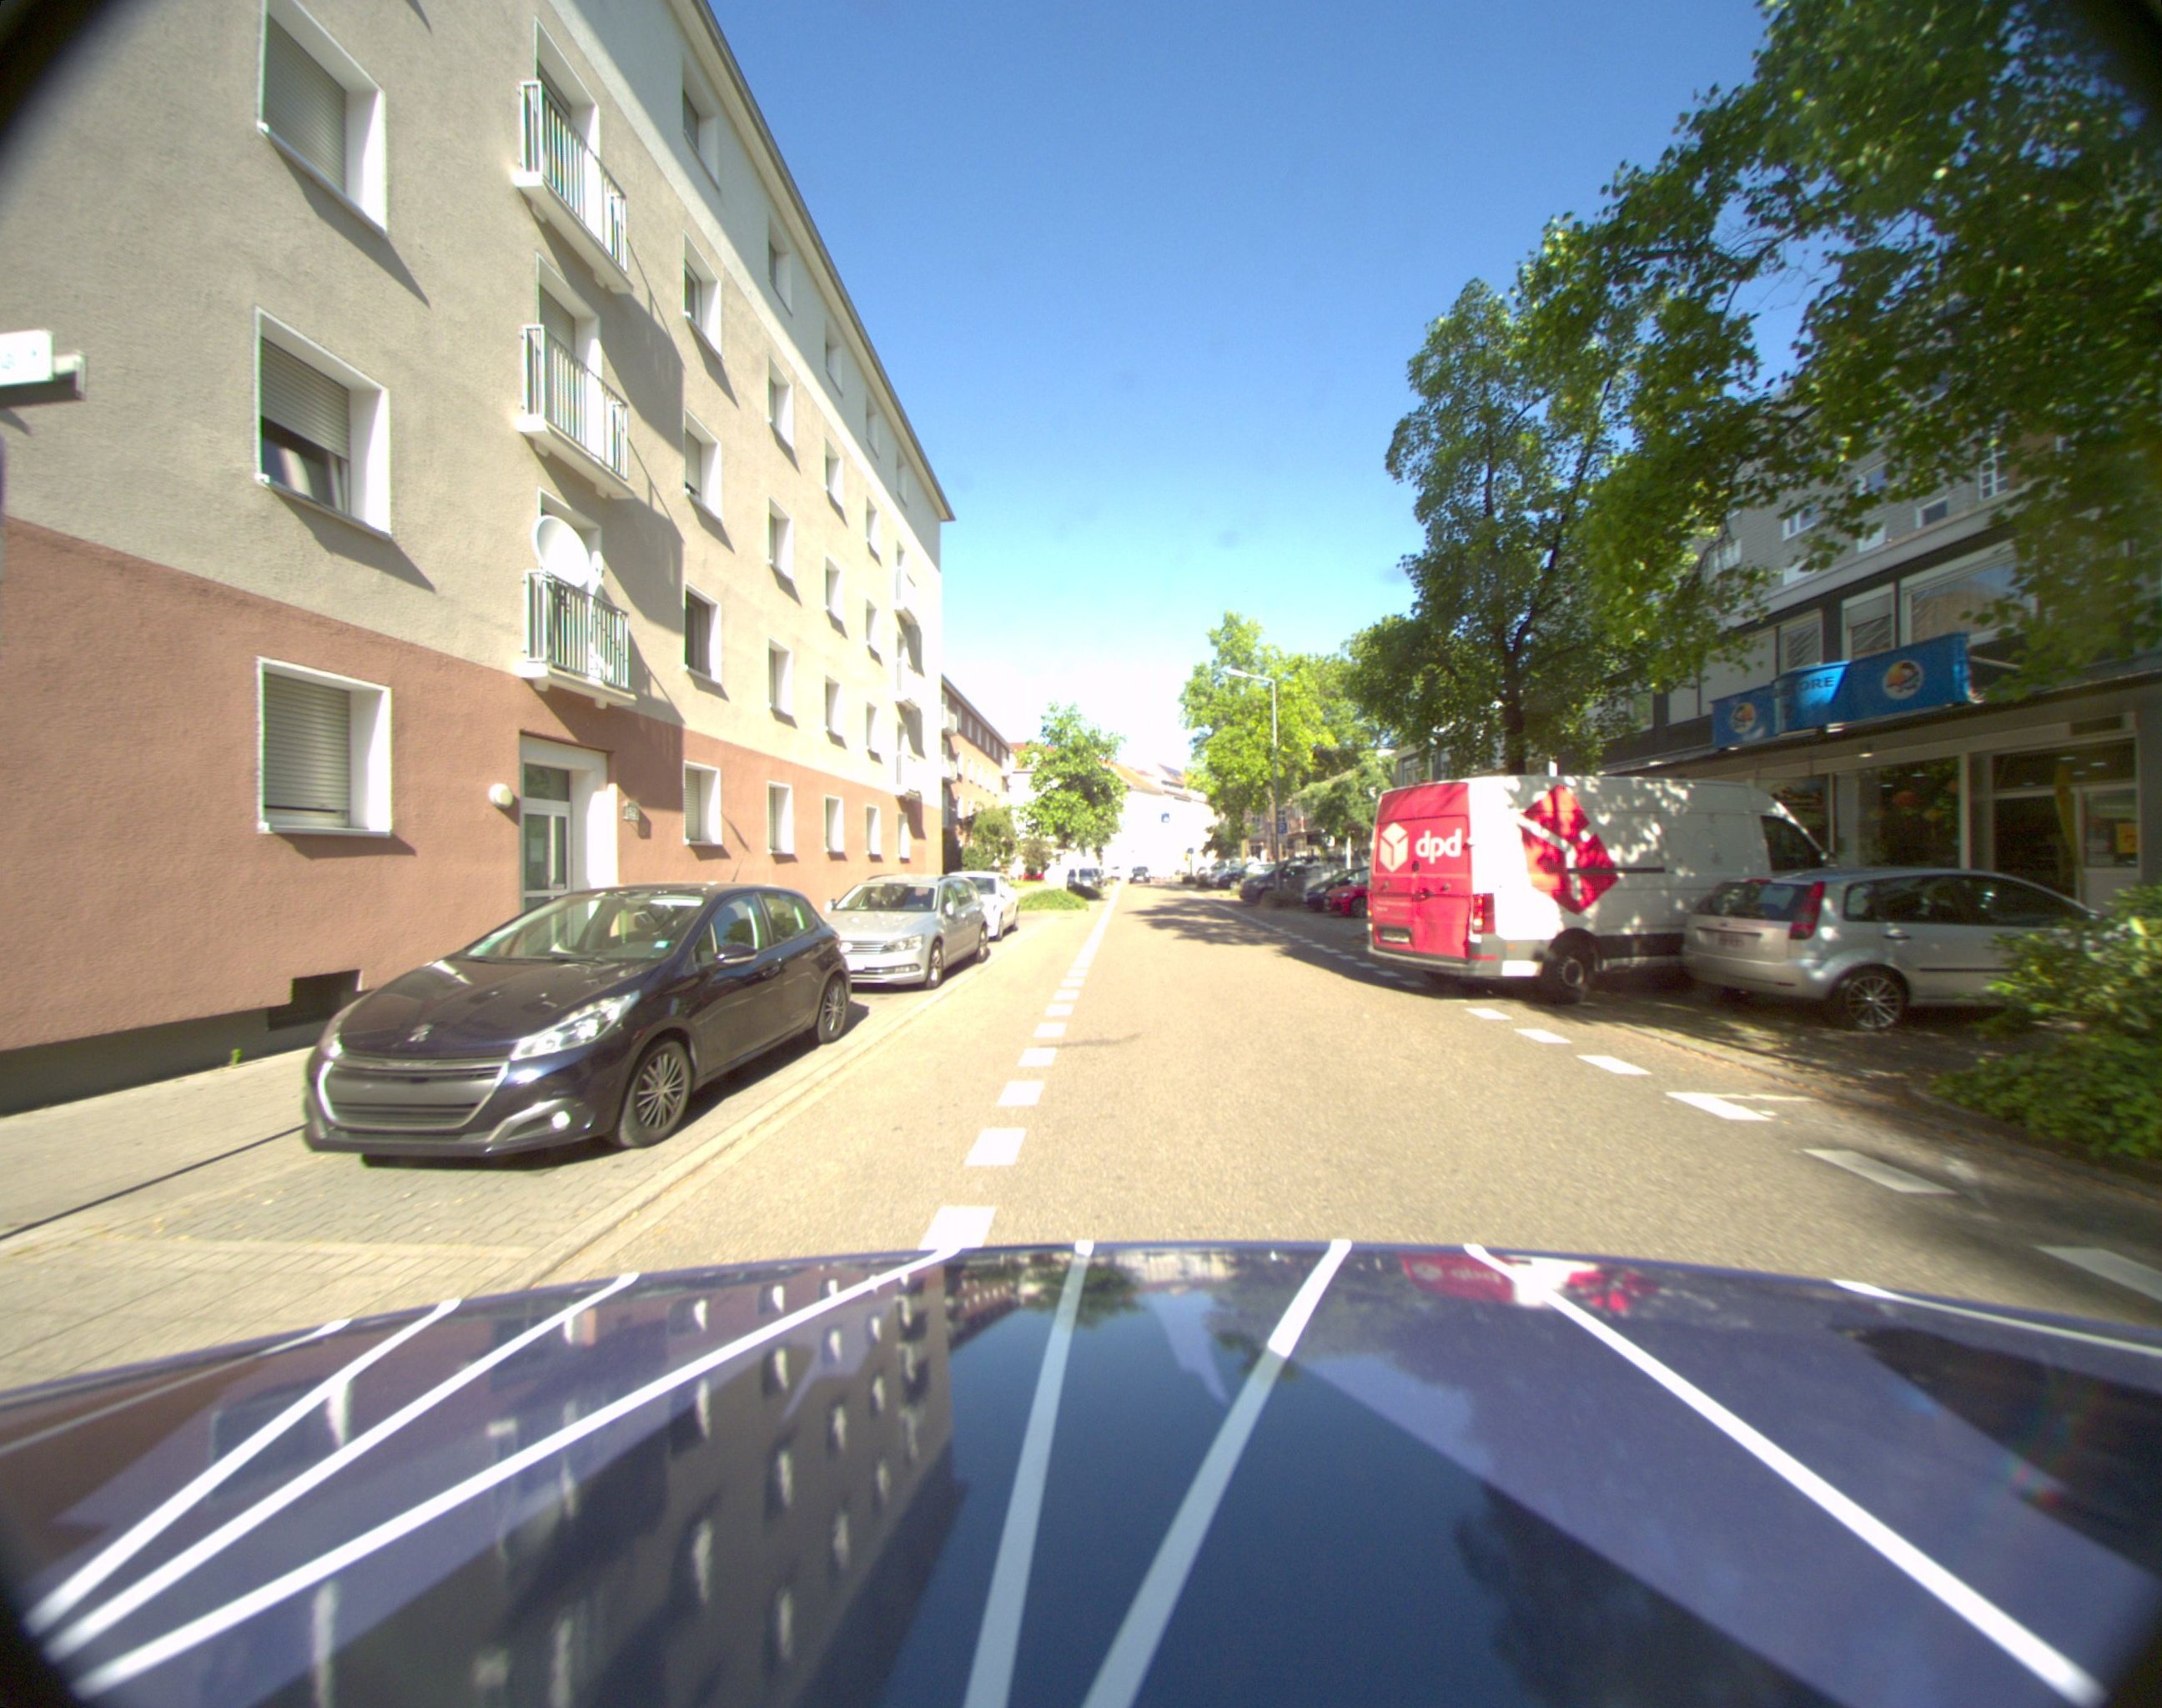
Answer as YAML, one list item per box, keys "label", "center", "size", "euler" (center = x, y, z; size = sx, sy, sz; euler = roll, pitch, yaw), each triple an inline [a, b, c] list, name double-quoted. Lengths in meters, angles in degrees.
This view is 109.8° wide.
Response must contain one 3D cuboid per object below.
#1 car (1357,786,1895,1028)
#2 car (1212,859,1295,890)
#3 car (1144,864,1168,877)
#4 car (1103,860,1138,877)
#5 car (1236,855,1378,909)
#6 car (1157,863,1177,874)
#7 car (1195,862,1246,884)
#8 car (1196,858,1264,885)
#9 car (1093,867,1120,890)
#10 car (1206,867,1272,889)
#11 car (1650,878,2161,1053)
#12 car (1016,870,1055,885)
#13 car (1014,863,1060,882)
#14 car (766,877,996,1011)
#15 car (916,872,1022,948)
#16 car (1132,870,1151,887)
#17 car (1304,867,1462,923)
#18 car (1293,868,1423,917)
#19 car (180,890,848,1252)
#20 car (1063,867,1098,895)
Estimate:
- label: "car"
  center: [6.962, 0.539, 9.682]
  size: [6.609, 2.459, 1.997]
  euler: [0, 0, -18]
- label: "car"
  center: [10.761, 1.270, 47.740]
  size: [4.780, 1.766, 1.874]
  euler: [-2, -1, 2]
- label: "car"
  center: [8.619, 1.904, 87.466]
  size: [1.632, 1.412, 3.300]
  euler: [-1, 0, 27]
- label: "car"
  center: [4.487, 1.644, 86.034]
  size: [1.908, 1.924, 4.819]
  euler: [-1, -1, 30]
- label: "car"
  center: [8.889, 1.086, 30.172]
  size: [5.042, 1.927, 1.874]
  euler: [-2, -1, 3]
- label: "car"
  center: [11.332, 1.915, 99.994]
  size: [1.632, 1.412, 3.300]
  euler: [-1, -1, 27]
- label: "car"
  center: [11.463, 1.577, 62.642]
  size: [3.996, 1.781, 1.758]
  euler: [-1, 0, 3]
- label: "car"
  center: [11.714, 1.378, 60.048]
  size: [4.994, 1.958, 1.910]
  euler: [-2, 0, 2]
- label: "car"
  center: [1.747, 1.608, 51.791]
  size: [1.661, 1.473, 4.313]
  euler: [-1, -1, 4]
- label: "car"
  center: [10.401, 1.566, 50.266]
  size: [3.996, 1.390, 1.760]
  euler: [-1, -1, 2]
- label: "car"
  center: [8.073, 0.997, 7.426]
  size: [3.602, 1.411, 1.832]
  euler: [-1, 0, 3]
- label: "car"
  center: [-4.479, 2.303, 74.902]
  size: [3.647, 1.394, 1.569]
  euler: [-1, 0, 4]
- label: "car"
  center: [-4.622, 1.926, 80.492]
  size: [4.755, 2.001, 2.000]
  euler: [-1, 0, -1]
- label: "car"
  center: [-2.619, 1.123, 11.192]
  size: [1.789, 1.451, 4.519]
  euler: [1, 0, 6]
- label: "car"
  center: [-2.465, 1.206, 17.623]
  size: [1.735, 1.477, 3.796]
  euler: [1, 0, 2]
- label: "car"
  center: [5.301, 2.146, 67.076]
  size: [1.611, 1.444, 3.296]
  euler: [0, -1, 3]
- label: "car"
  center: [8.777, 1.171, 22.307]
  size: [3.927, 1.442, 1.710]
  euler: [-2, 0, 3]
- label: "car"
  center: [9.062, 1.246, 25.073]
  size: [3.675, 1.442, 1.613]
  euler: [-2, 0, 0]
- label: "car"
  center: [-3.146, 1.062, 5.282]
  size: [1.713, 1.471, 3.712]
  euler: [-1, 0, 3]
- label: "car"
  center: [0.015, 1.517, 43.388]
  size: [1.720, 1.445, 4.001]
  euler: [0, 0, 4]
